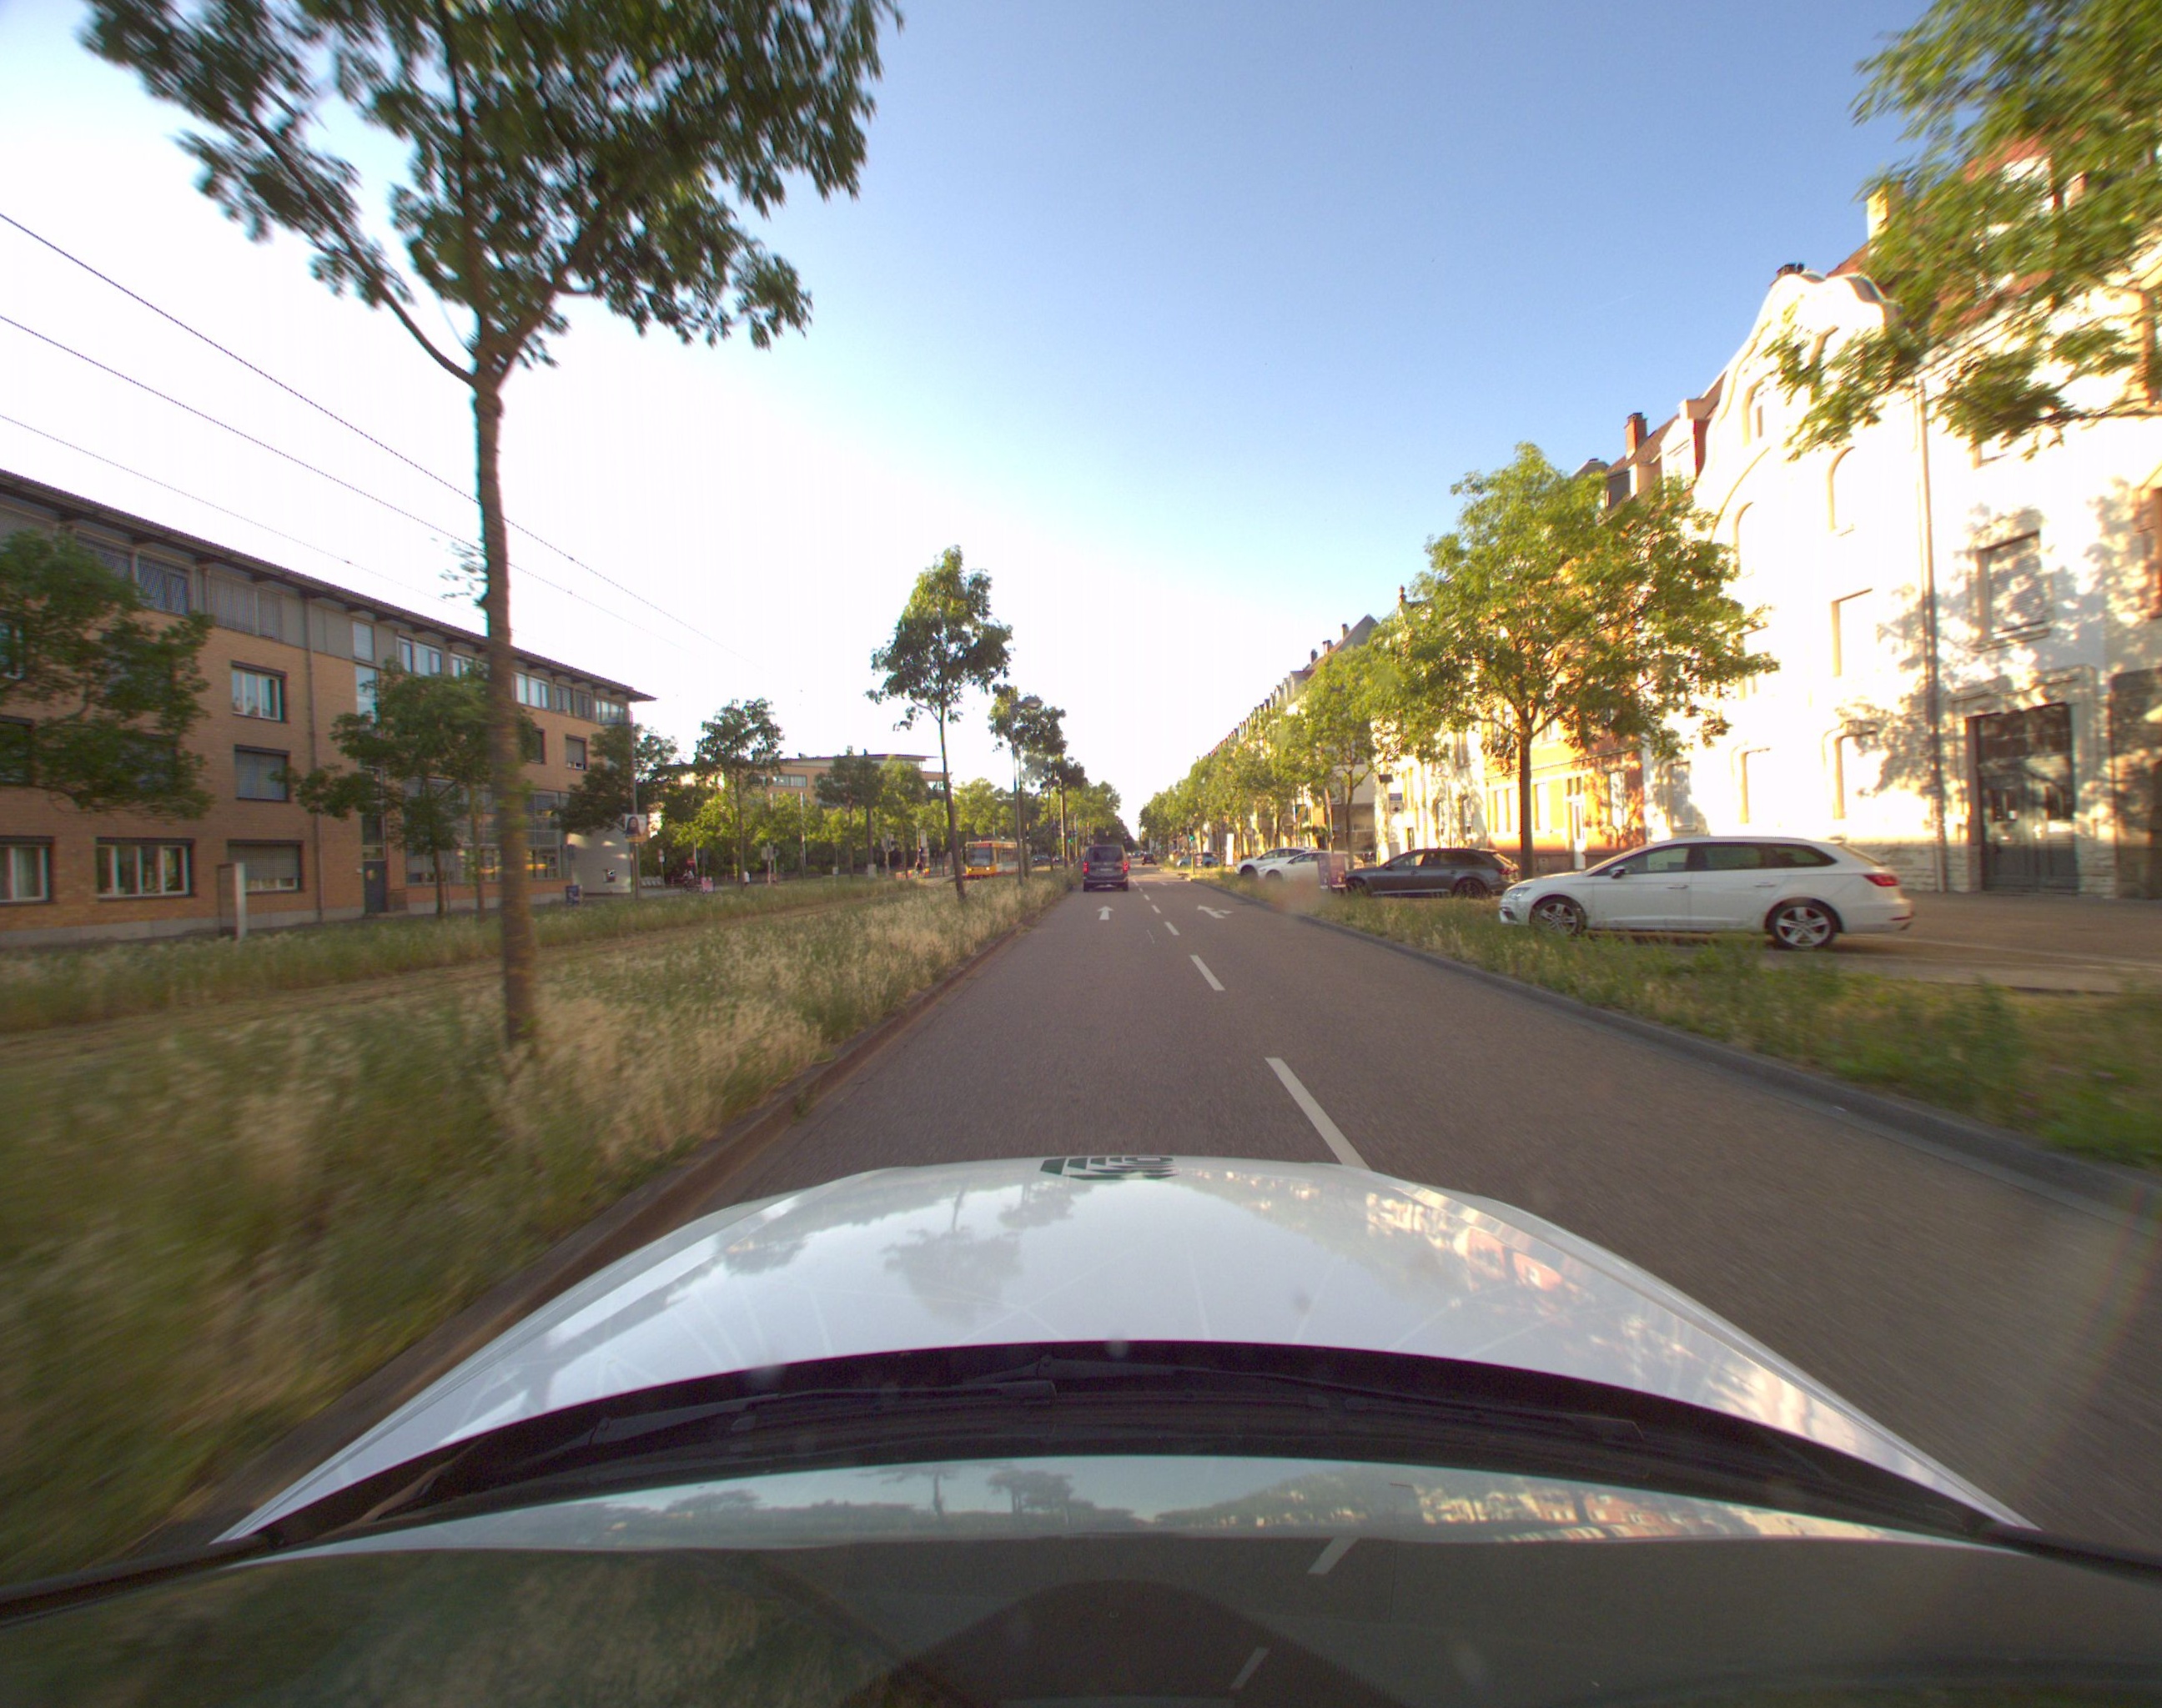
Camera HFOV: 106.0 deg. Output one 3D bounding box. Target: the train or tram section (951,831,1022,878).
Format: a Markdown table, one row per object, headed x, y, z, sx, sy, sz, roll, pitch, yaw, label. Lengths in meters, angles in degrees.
| x | y | z | sx | sy | sz | roll | pitch | yaw | label |
| --- | --- | --- | --- | --- | --- | --- | --- | --- | --- |
| -7.694 | 0.031 | 69.028 | 3.417 | 3.430 | 15.037 | -2 | 0 | 3 | train or tram section |

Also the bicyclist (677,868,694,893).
| x | y | z | sx | sy | sz | roll | pitch | yaw | label |
| --- | --- | --- | --- | --- | --- | --- | --- | --- | --- |
| -26.686 | 1.776 | 54.934 | 0.692 | 1.674 | 0.826 | -2 | 0 | 2 | bicyclist |

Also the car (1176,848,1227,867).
| x | y | z | sx | sy | sz | roll | pitch | yaw | label |
| --- | --- | --- | --- | --- | --- | --- | --- | --- | --- |
| 11.051 | 0.326 | 74.807 | 4.232 | 1.522 | 1.859 | -2 | 0 | 35 | car |

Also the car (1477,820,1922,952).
| x | y | z | sx | sy | sz | roll | pitch | yaw | label |
| --- | --- | --- | --- | --- | --- | --- | --- | --- | --- |
| 8.269 | 0.415 | 11.385 | 4.586 | 1.510 | 1.859 | -2 | 0 | 38 | car |

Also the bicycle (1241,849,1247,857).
| x | y | z | sx | sy | sz | roll | pitch | yaw | label |
| --- | --- | --- | --- | --- | --- | --- | --- | --- | --- |
| 21.110 | -0.109 | 105.230 | 0.481 | 1.005 | 1.748 | -2 | 0 | 3 | bicycle |

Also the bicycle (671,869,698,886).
| x | y | z | sx | sy | sz | roll | pitch | yaw | label |
| --- | --- | --- | --- | --- | --- | --- | --- | --- | --- |
| -26.703 | 1.600 | 54.903 | 0.707 | 1.052 | 2.095 | -2 | 0 | 3 | bicycle |

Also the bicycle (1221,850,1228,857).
| x | y | z | sx | sy | sz | roll | pitch | yaw | label |
| --- | --- | --- | --- | --- | --- | --- | --- | --- | --- |
| 20.015 | -0.058 | 113.688 | 0.730 | 0.948 | 2.343 | -4 | 0 | 6 | bicycle |

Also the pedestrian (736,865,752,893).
| x | y | z | sx | sy | sz | roll | pitch | yaw | label |
| --- | --- | --- | --- | --- | --- | --- | --- | --- | --- |
| -21.489 | 1.582 | 51.936 | 0.687 | 1.697 | 0.827 | -2 | 0 | -5 | pedestrian |

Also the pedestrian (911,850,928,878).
| x | y | z | sx | sy | sz | roll | pitch | yaw | label |
| --- | --- | --- | --- | --- | --- | --- | --- | --- | --- |
| -11.910 | 0.740 | 59.993 | 0.930 | 2.013 | 0.958 | -2 | 0 | 2 | pedestrian |

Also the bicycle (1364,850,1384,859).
| x | y | z | sx | sy | sz | roll | pitch | yaw | label |
| --- | --- | --- | --- | --- | --- | --- | --- | --- | --- |
| 24.762 | 0.043 | 68.818 | 1.535 | 0.735 | 0.531 | -2 | 1 | 2 | bicycle |

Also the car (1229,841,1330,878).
| x | y | z | sx | sy | sz | roll | pitch | yaw | label |
| --- | --- | --- | --- | --- | --- | --- | --- | --- | --- |
| 9.759 | 0.289 | 40.191 | 4.375 | 1.691 | 1.928 | -2 | 0 | 37 | car |

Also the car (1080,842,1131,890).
| x | y | z | sx | sy | sz | roll | pitch | yaw | label |
| --- | --- | --- | --- | --- | --- | --- | --- | --- | --- |
| 1.100 | 0.472 | 34.551 | 1.985 | 1.900 | 4.302 | -1 | 0 | 3 | car |

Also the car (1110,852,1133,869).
| x | y | z | sx | sy | sz | roll | pitch | yaw | label |
| --- | --- | --- | --- | --- | --- | --- | --- | --- | --- |
| 3.843 | 0.628 | 78.272 | 1.987 | 1.510 | 3.999 | -1 | 0 | 0 | car |

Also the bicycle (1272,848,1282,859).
| x | y | z | sx | sy | sz | roll | pitch | yaw | label |
| --- | --- | --- | --- | --- | --- | --- | --- | --- | --- |
| 20.299 | -0.094 | 84.416 | 0.570 | 1.073 | 1.898 | -3 | 0 | 3 | bicycle |

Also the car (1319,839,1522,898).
| x | y | z | sx | sy | sz | roll | pitch | yaw | label |
| --- | --- | --- | --- | --- | --- | --- | --- | --- | --- |
| 8.786 | 0.398 | 21.219 | 4.523 | 1.348 | 1.908 | -2 | 0 | 35 | car |

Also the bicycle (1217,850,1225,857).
| x | y | z | sx | sy | sz | roll | pitch | yaw | label |
| --- | --- | --- | --- | --- | --- | --- | --- | --- | --- |
| 20.002 | -0.044 | 116.248 | 0.868 | 0.916 | 2.087 | -4 | 0 | 4 | bicycle |

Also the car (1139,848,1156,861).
| x | y | z | sx | sy | sz | roll | pitch | yaw | label |
| --- | --- | --- | --- | --- | --- | --- | --- | --- | --- |
| 8.307 | 0.062 | 102.335 | 1.986 | 1.510 | 4.002 | -1 | 0 | 2 | car |

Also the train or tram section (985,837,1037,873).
| x | y | z | sx | sy | sz | roll | pitch | yaw | label |
| --- | --- | --- | --- | --- | --- | --- | --- | --- | --- |
| -6.928 | 0.091 | 83.508 | 3.417 | 3.339 | 13.867 | -2 | 0 | 3 | train or tram section |

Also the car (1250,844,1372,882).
| x | y | z | sx | sy | sz | roll | pitch | yaw | label |
| --- | --- | --- | --- | --- | --- | --- | --- | --- | --- |
| 9.616 | 0.384 | 34.167 | 4.496 | 1.400 | 2.044 | -2 | -1 | 33 | car |

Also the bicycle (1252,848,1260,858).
| x | y | z | sx | sy | sz | roll | pitch | yaw | label |
| --- | --- | --- | --- | --- | --- | --- | --- | --- | --- |
| 20.767 | -0.102 | 96.707 | 0.481 | 1.165 | 1.748 | -8 | 0 | 3 | bicycle |

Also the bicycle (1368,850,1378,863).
| x | y | z | sx | sy | sz | roll | pitch | yaw | label |
| --- | --- | --- | --- | --- | --- | --- | --- | --- | --- |
| 23.687 | 0.183 | 66.090 | 0.623 | 0.947 | 1.893 | -2 | 1 | 17 | bicycle |
